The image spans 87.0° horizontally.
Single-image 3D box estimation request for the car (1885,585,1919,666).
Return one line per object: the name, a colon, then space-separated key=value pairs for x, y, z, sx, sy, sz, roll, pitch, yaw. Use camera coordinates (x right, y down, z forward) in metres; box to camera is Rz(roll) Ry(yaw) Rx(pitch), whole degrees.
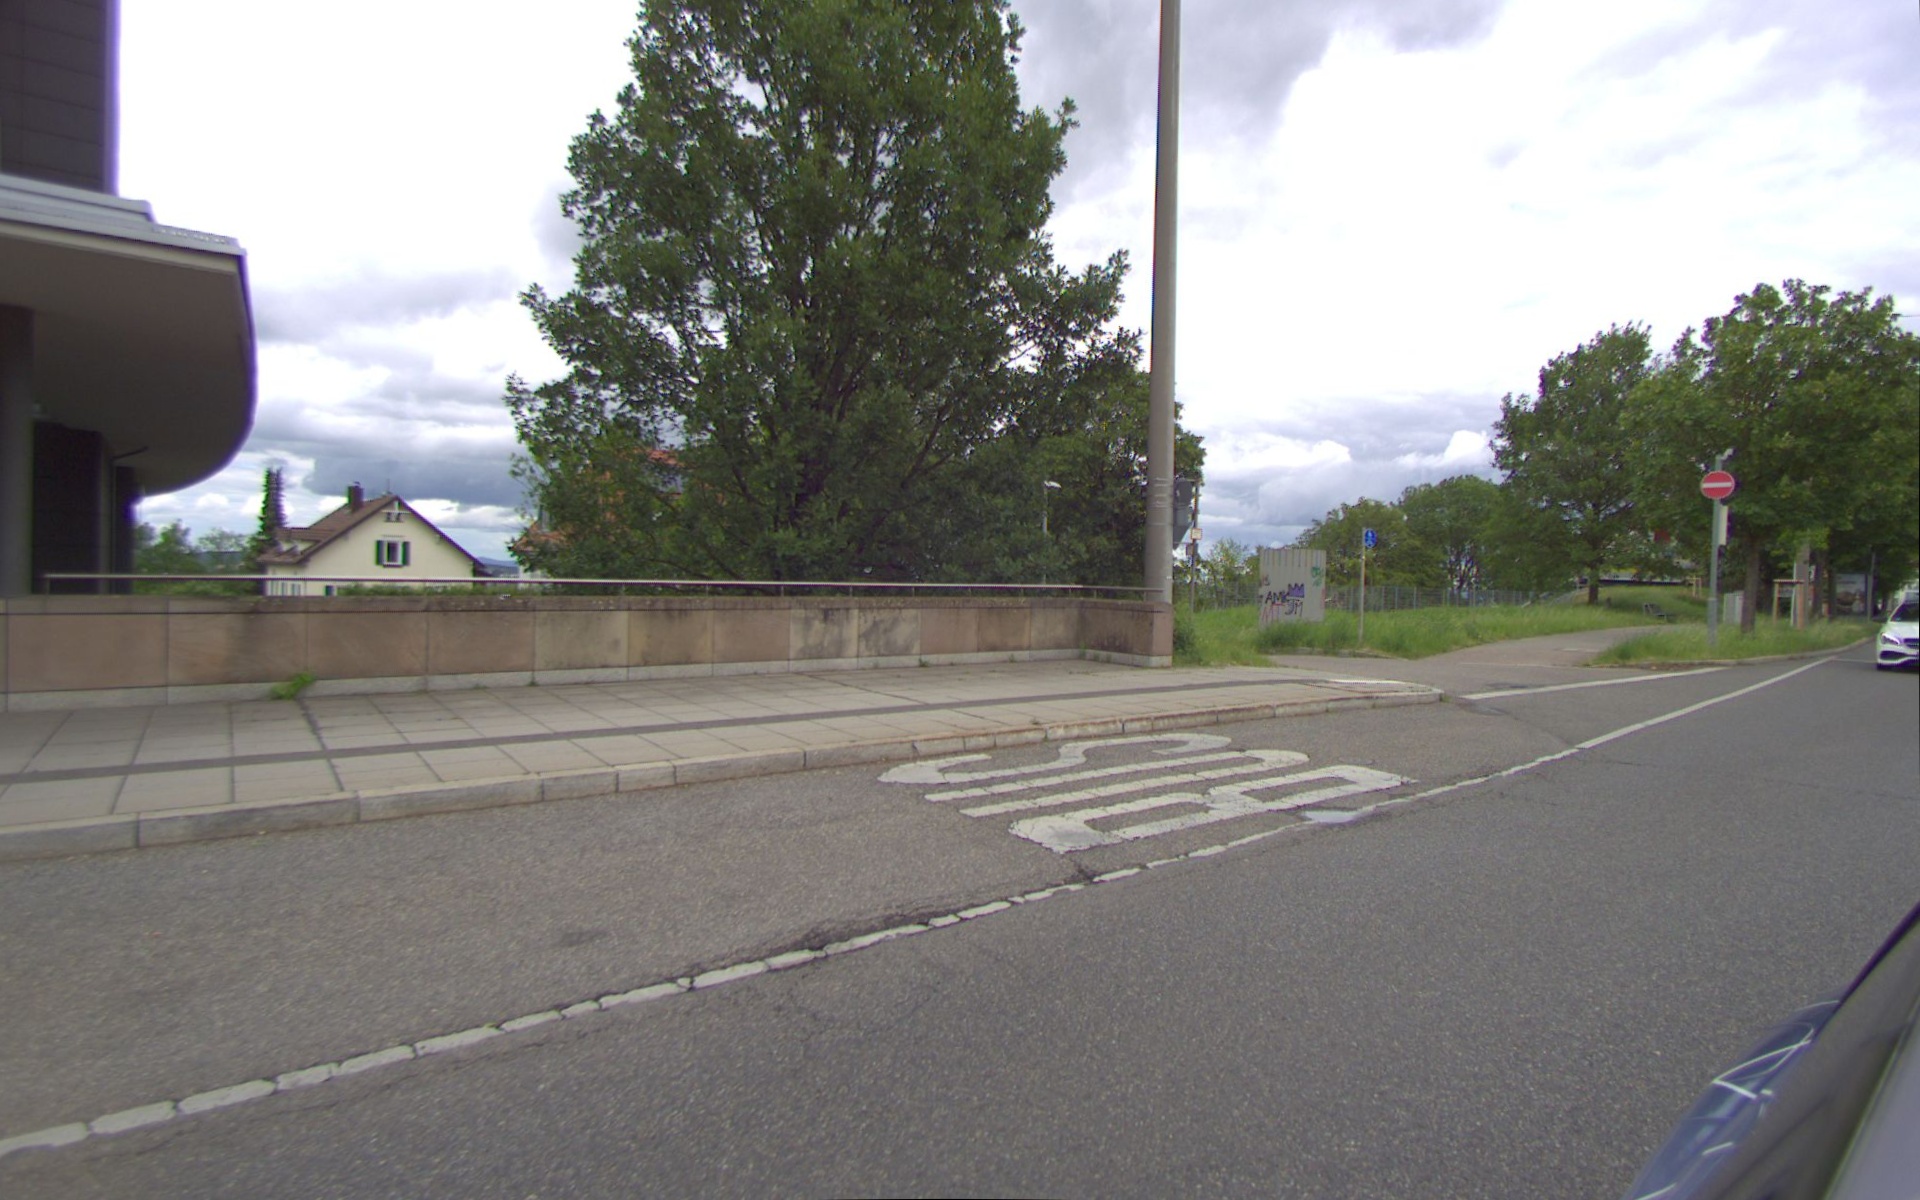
car: x=20.214 y=0.483 z=20.538 sx=4.695 sy=1.524 sz=1.869 roll=-1 pitch=2 yaw=-45
